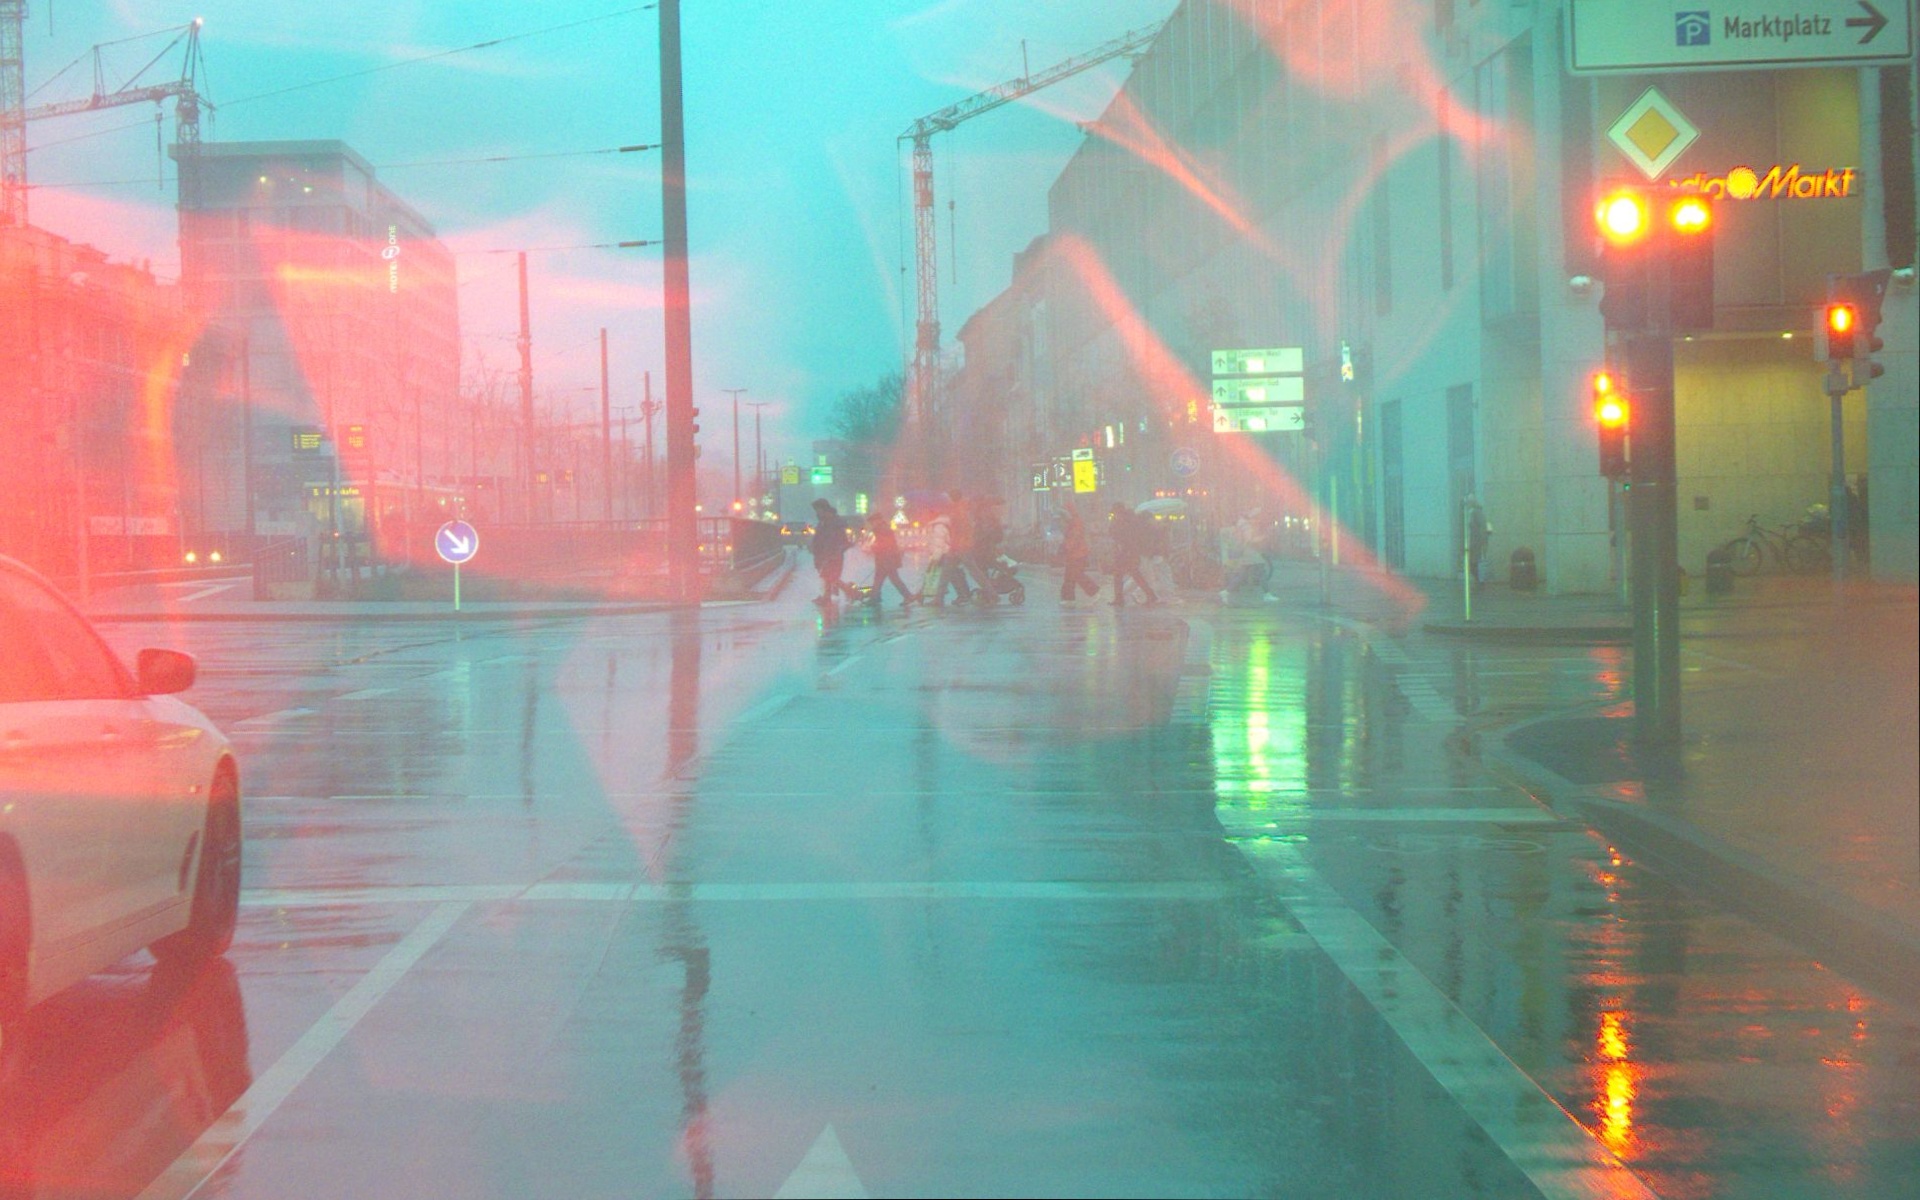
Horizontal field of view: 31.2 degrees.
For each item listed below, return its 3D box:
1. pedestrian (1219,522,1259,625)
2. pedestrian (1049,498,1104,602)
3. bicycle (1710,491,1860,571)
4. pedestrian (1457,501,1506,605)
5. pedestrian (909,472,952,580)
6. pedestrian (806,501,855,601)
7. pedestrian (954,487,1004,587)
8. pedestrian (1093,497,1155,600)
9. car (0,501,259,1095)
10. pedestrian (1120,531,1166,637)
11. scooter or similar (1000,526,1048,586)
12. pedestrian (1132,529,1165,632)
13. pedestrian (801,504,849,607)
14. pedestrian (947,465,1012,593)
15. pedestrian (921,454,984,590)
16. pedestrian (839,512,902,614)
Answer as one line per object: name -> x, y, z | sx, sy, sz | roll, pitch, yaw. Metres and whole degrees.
pedestrian -> 4.797, -0.460, 59.158 | 0.617, 1.754, 0.482 | -1, 1, 1
pedestrian -> 1.901, -0.826, 56.310 | 0.831, 1.673, 0.619 | -2, 1, -1
bicycle -> 14.252, -1.200, 59.424 | 2.425, 1.324, 0.635 | -1, 2, -4
pedestrian -> 8.897, -0.805, 58.718 | 0.703, 1.754, 0.652 | -1, 1, 1
pedestrian -> -0.485, -1.203, 56.192 | 0.619, 1.740, 0.613 | -2, 1, -5
pedestrian -> -2.121, -0.809, 56.388 | 0.706, 1.613, 0.680 | -1, 1, 2
pedestrian -> 0.320, -1.054, 57.631 | 0.741, 1.661, 0.400 | -1, 1, 7
pedestrian -> 2.729, -0.862, 57.217 | 0.842, 1.682, 0.677 | -2, 1, -11
car -> -3.434, 0.506, 9.744 | 1.909, 1.515, 4.924 | -2, 1, -1
pedestrian -> 3.090, -0.277, 58.218 | 0.702, 1.754, 0.667 | -1, 1, 1
scooter or similar -> 1.072, -0.741, 57.551 | 0.741, 0.990, 0.400 | -1, 1, 7
pedestrian -> 3.238, -0.341, 59.083 | 0.512, 1.754, 0.374 | -1, 1, 1
pedestrian -> -2.148, -0.714, 54.705 | 0.706, 1.613, 0.613 | -2, 1, -2
pedestrian -> 0.305, -1.131, 54.607 | 0.775, 2.007, 0.613 | -2, 1, -37
pedestrian -> -0.115, -1.215, 53.532 | 0.686, 2.080, 0.613 | -2, 1, -39
pedestrian -> -1.434, -0.589, 55.061 | 0.817, 1.613, 0.538 | -1, 1, 38
